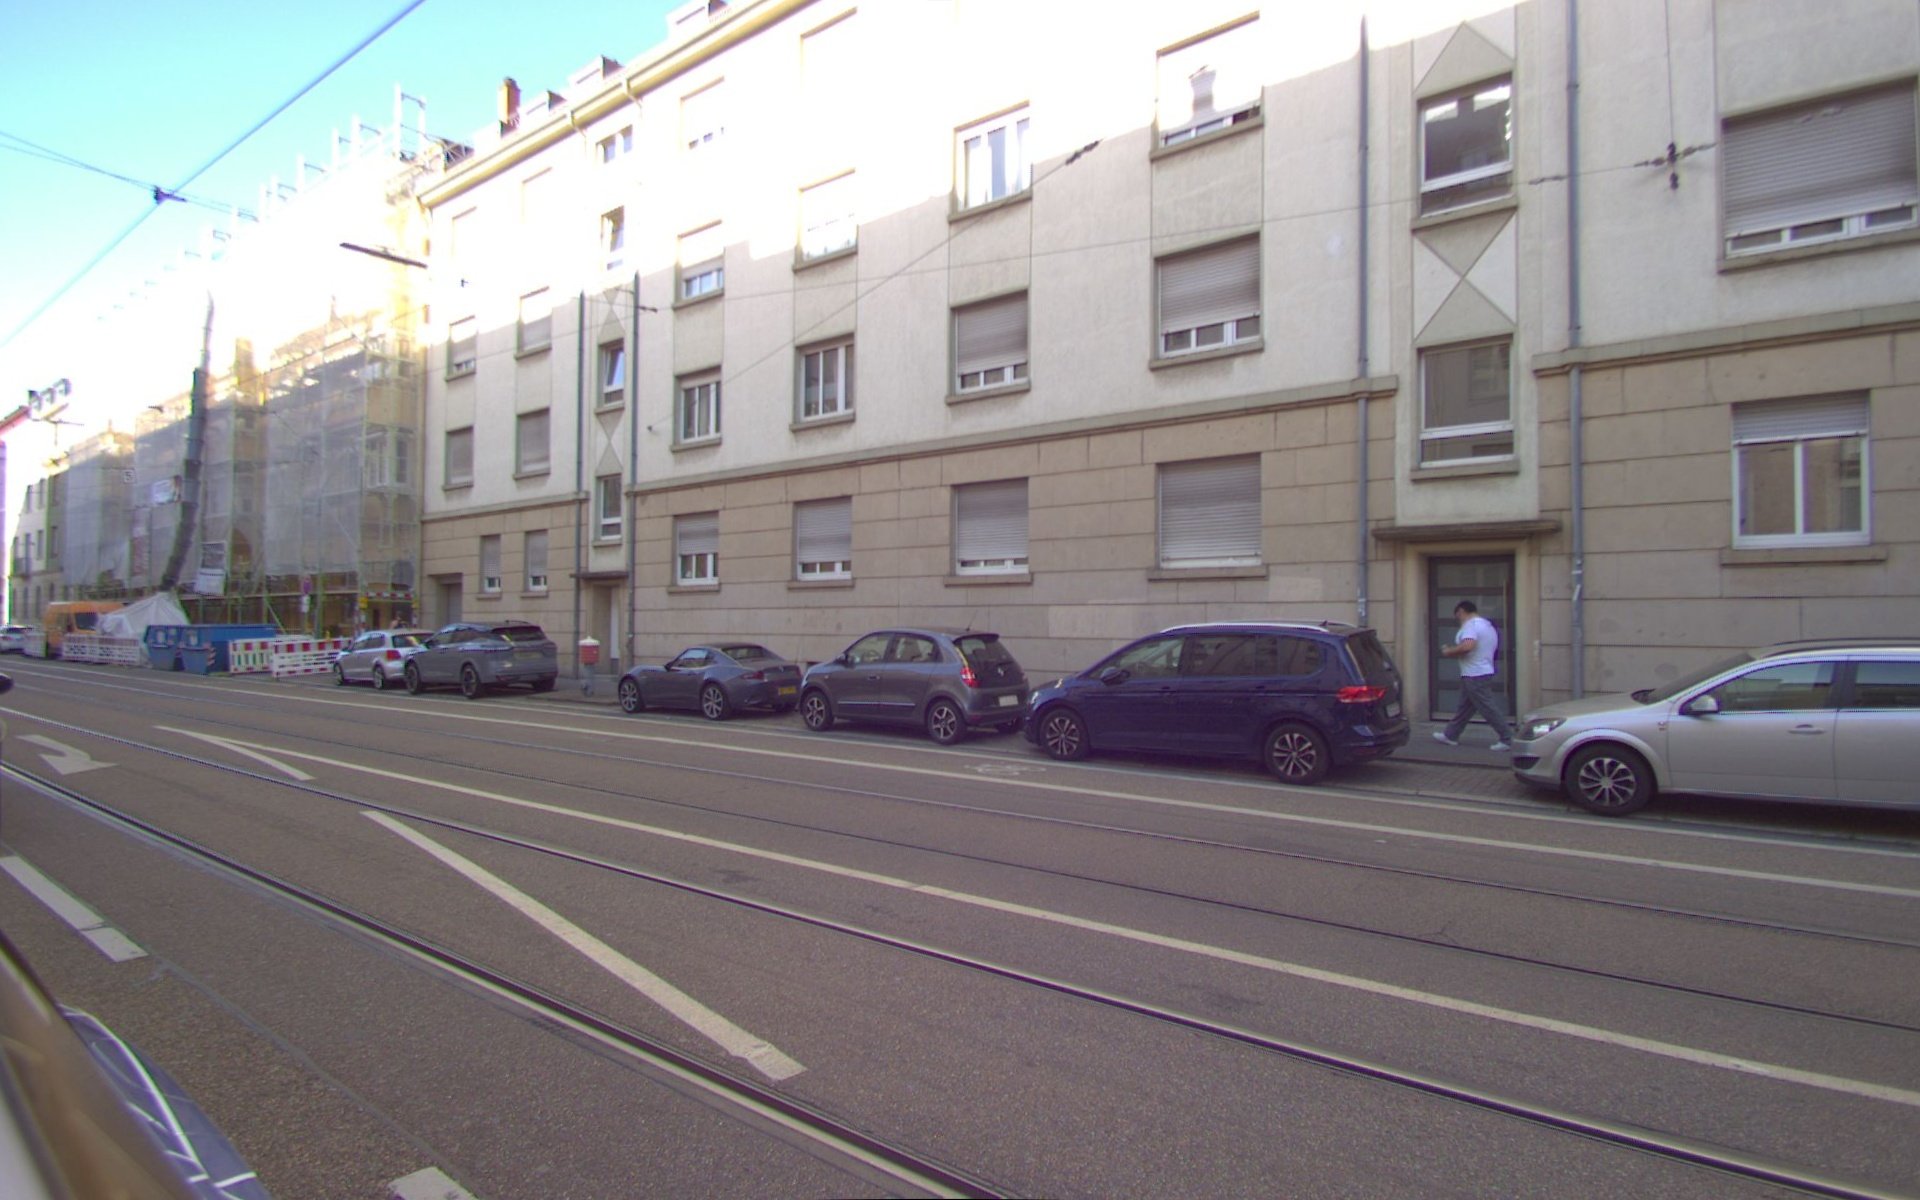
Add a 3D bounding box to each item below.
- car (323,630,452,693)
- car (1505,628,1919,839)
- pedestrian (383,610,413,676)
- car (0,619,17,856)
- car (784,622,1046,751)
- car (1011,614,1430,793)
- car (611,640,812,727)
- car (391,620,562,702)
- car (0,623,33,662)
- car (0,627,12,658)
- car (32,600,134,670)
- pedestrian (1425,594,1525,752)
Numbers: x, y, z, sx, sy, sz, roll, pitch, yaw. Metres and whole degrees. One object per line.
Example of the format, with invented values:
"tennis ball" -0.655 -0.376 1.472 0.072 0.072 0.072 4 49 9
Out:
"car" -14.412 1.494 25.417 3.502 1.390 1.546 -1 1 37
"car" 7.136 1.014 8.442 4.363 1.465 1.709 -1 1 37
"pedestrian" -16.388 1.243 29.504 0.762 1.886 0.513 -1 0 38
"car" -7.777 0.874 6.757 3.814 1.436 1.705 -2 -3 40
"car" -0.714 1.135 14.656 3.591 1.570 1.624 -1 1 38
"car" 2.880 1.016 11.647 4.318 1.645 1.798 -1 1 37
"car" -4.335 1.373 17.448 3.518 1.229 1.458 -1 1 37
"car" -10.880 1.291 22.669 4.152 1.621 1.731 -1 1 37
"car" -50.038 2.212 53.329 1.635 1.937 3.767 -1 0 -44
"car" -54.744 2.393 56.932 3.932 1.696 1.550 -1 0 39
"car" -36.451 1.388 41.996 5.866 2.717 2.188 -1 0 39
"pedestrian" 6.114 0.831 12.003 1.002 1.781 0.657 -1 0 31
